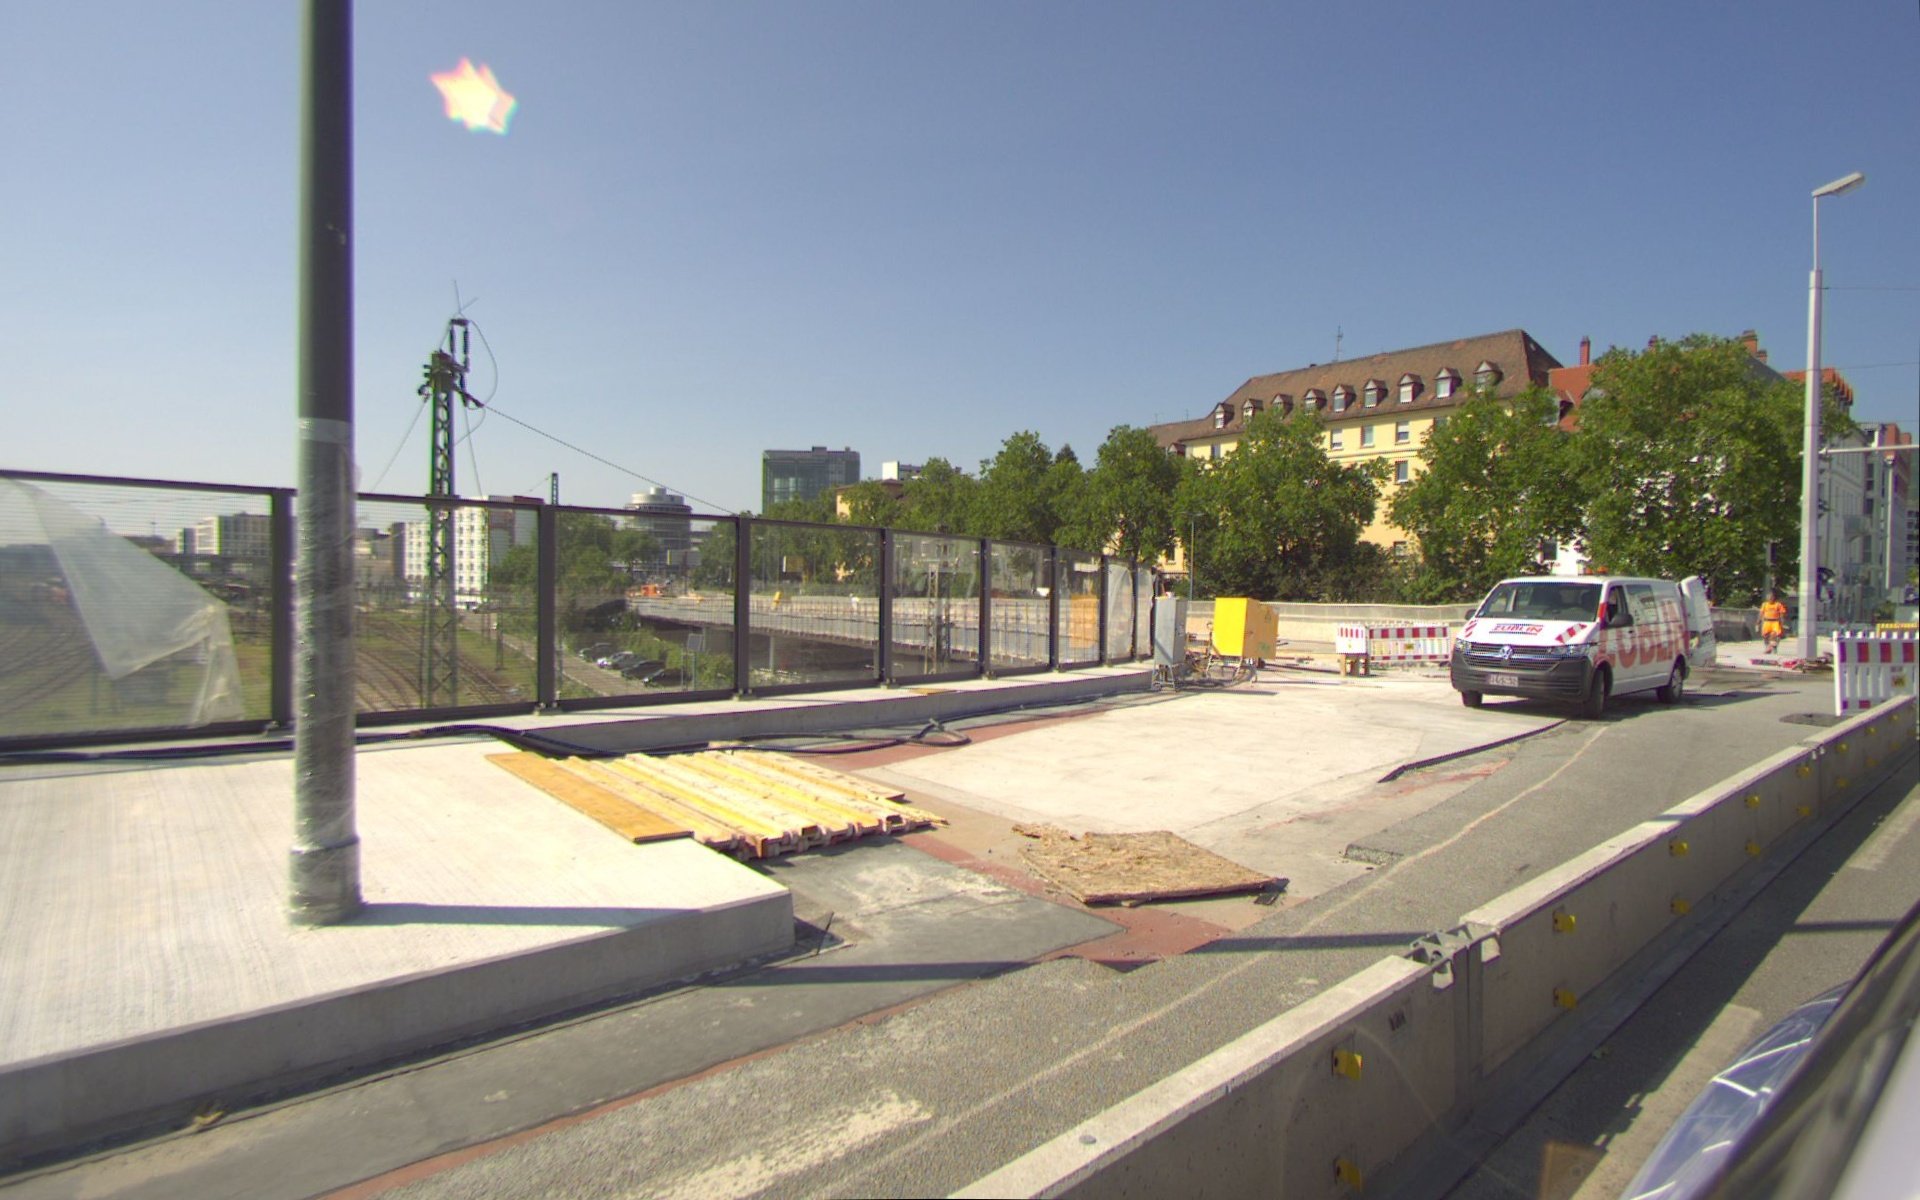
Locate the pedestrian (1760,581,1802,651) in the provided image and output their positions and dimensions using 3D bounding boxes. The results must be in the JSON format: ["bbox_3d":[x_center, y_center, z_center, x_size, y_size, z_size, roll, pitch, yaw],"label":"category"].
[{"bbox_3d":[24.590,0.458,30.303,0.828,2.009,0.761,-1,3,-41],"label":"pedestrian"}]

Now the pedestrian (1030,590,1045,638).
[{"bbox_3d":[3.313,0.600,43.251,0.491,2.039,0.428,0,0,-14],"label":"pedestrian"}]

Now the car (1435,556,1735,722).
[{"bbox_3d":[9.818,0.425,15.606,6.353,2.116,1.938,-1,2,-39],"label":"car"}]
